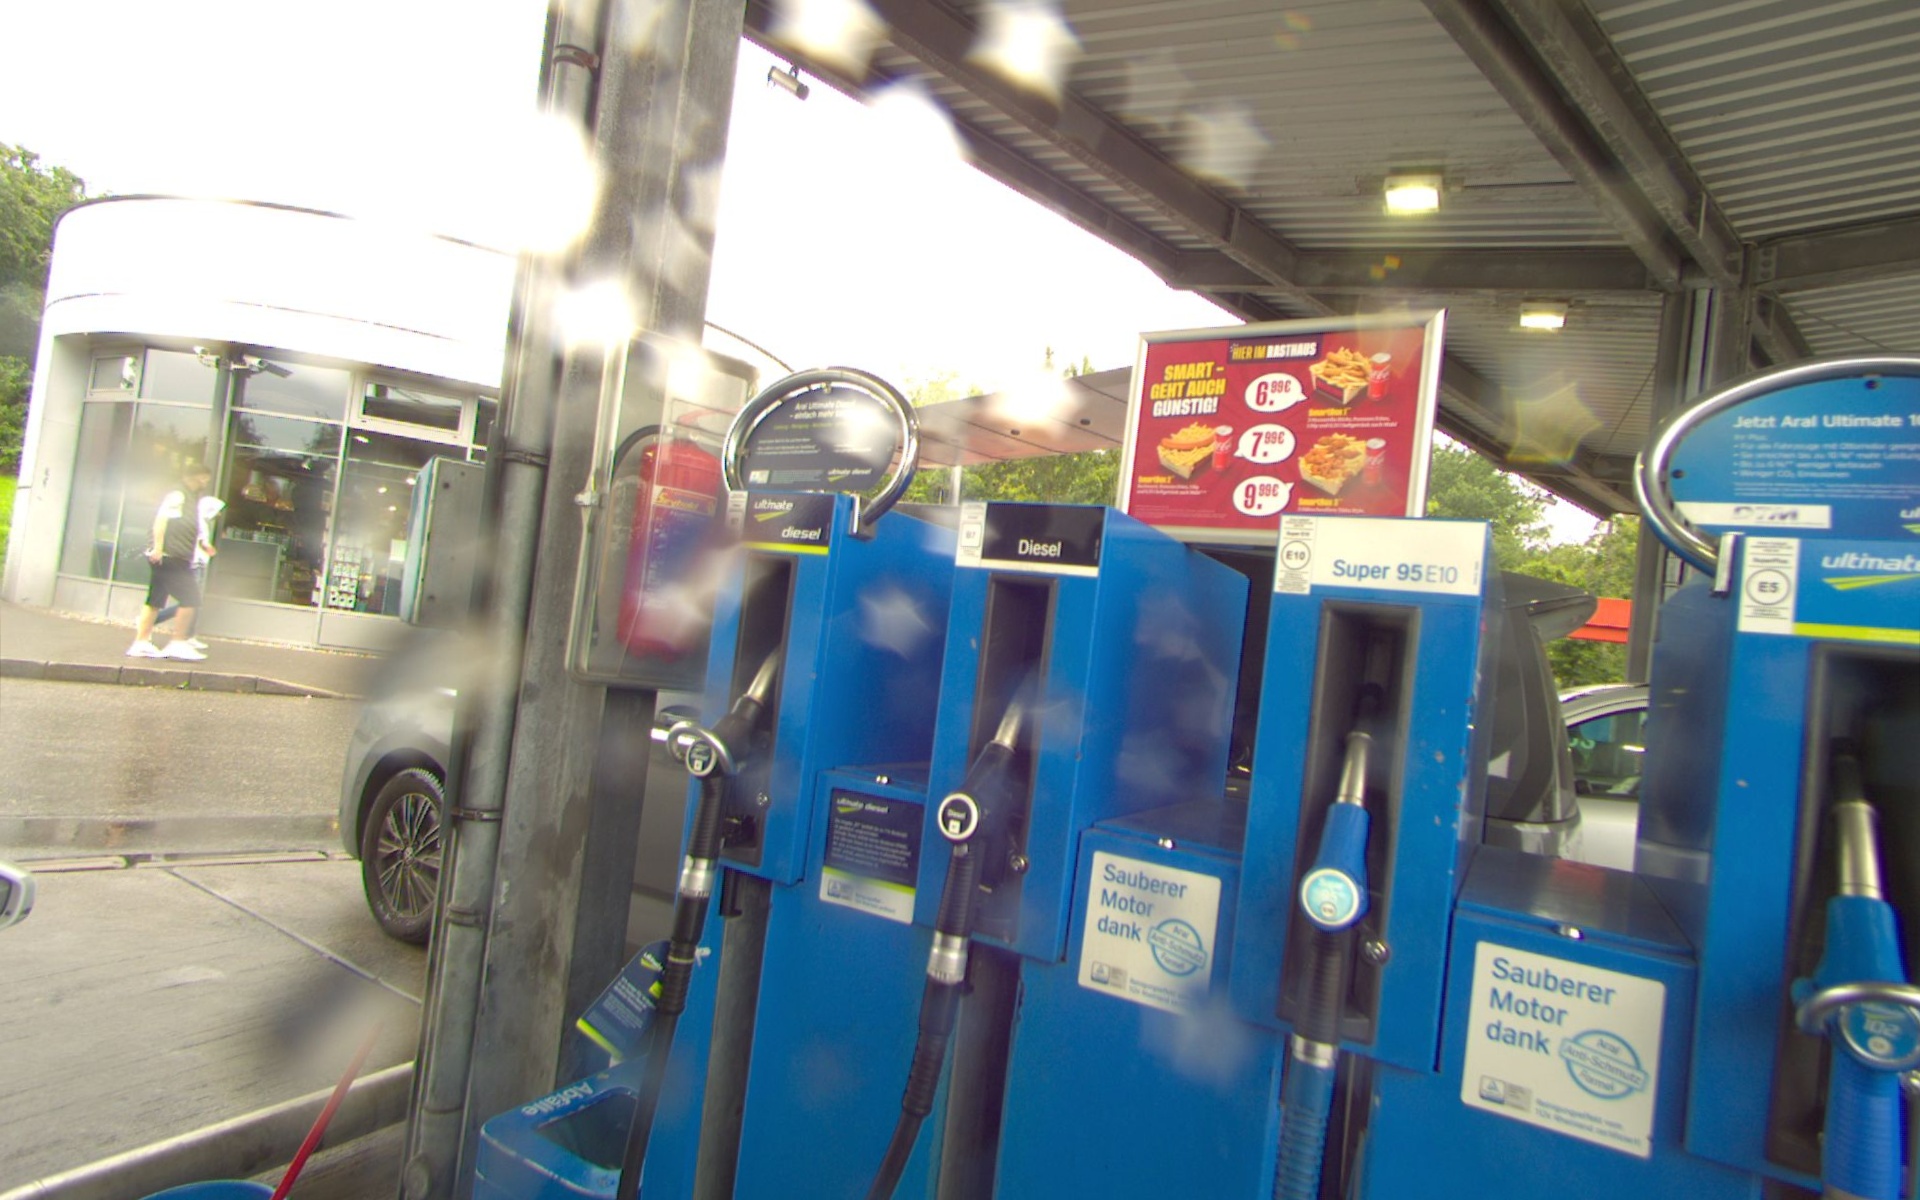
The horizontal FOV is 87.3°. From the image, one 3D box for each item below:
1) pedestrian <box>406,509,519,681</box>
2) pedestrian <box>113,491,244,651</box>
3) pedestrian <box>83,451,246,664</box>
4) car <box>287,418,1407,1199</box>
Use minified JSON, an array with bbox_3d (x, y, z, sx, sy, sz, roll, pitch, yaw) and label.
[{"bbox_3d":[-5.932,-0.054,11.980,0.990,1.887,0.793,7,0,-30],"label":"pedestrian"},{"bbox_3d":[-8.372,-0.298,10.813,0.882,1.569,0.655,7,0,-29],"label":"pedestrian"},{"bbox_3d":[-7.639,-0.389,9.721,0.965,1.871,0.767,7,0,-30],"label":"pedestrian"},{"bbox_3d":[-0.590,0.498,3.986,3.934,1.971,1.819,7,-1,32],"label":"car"}]
